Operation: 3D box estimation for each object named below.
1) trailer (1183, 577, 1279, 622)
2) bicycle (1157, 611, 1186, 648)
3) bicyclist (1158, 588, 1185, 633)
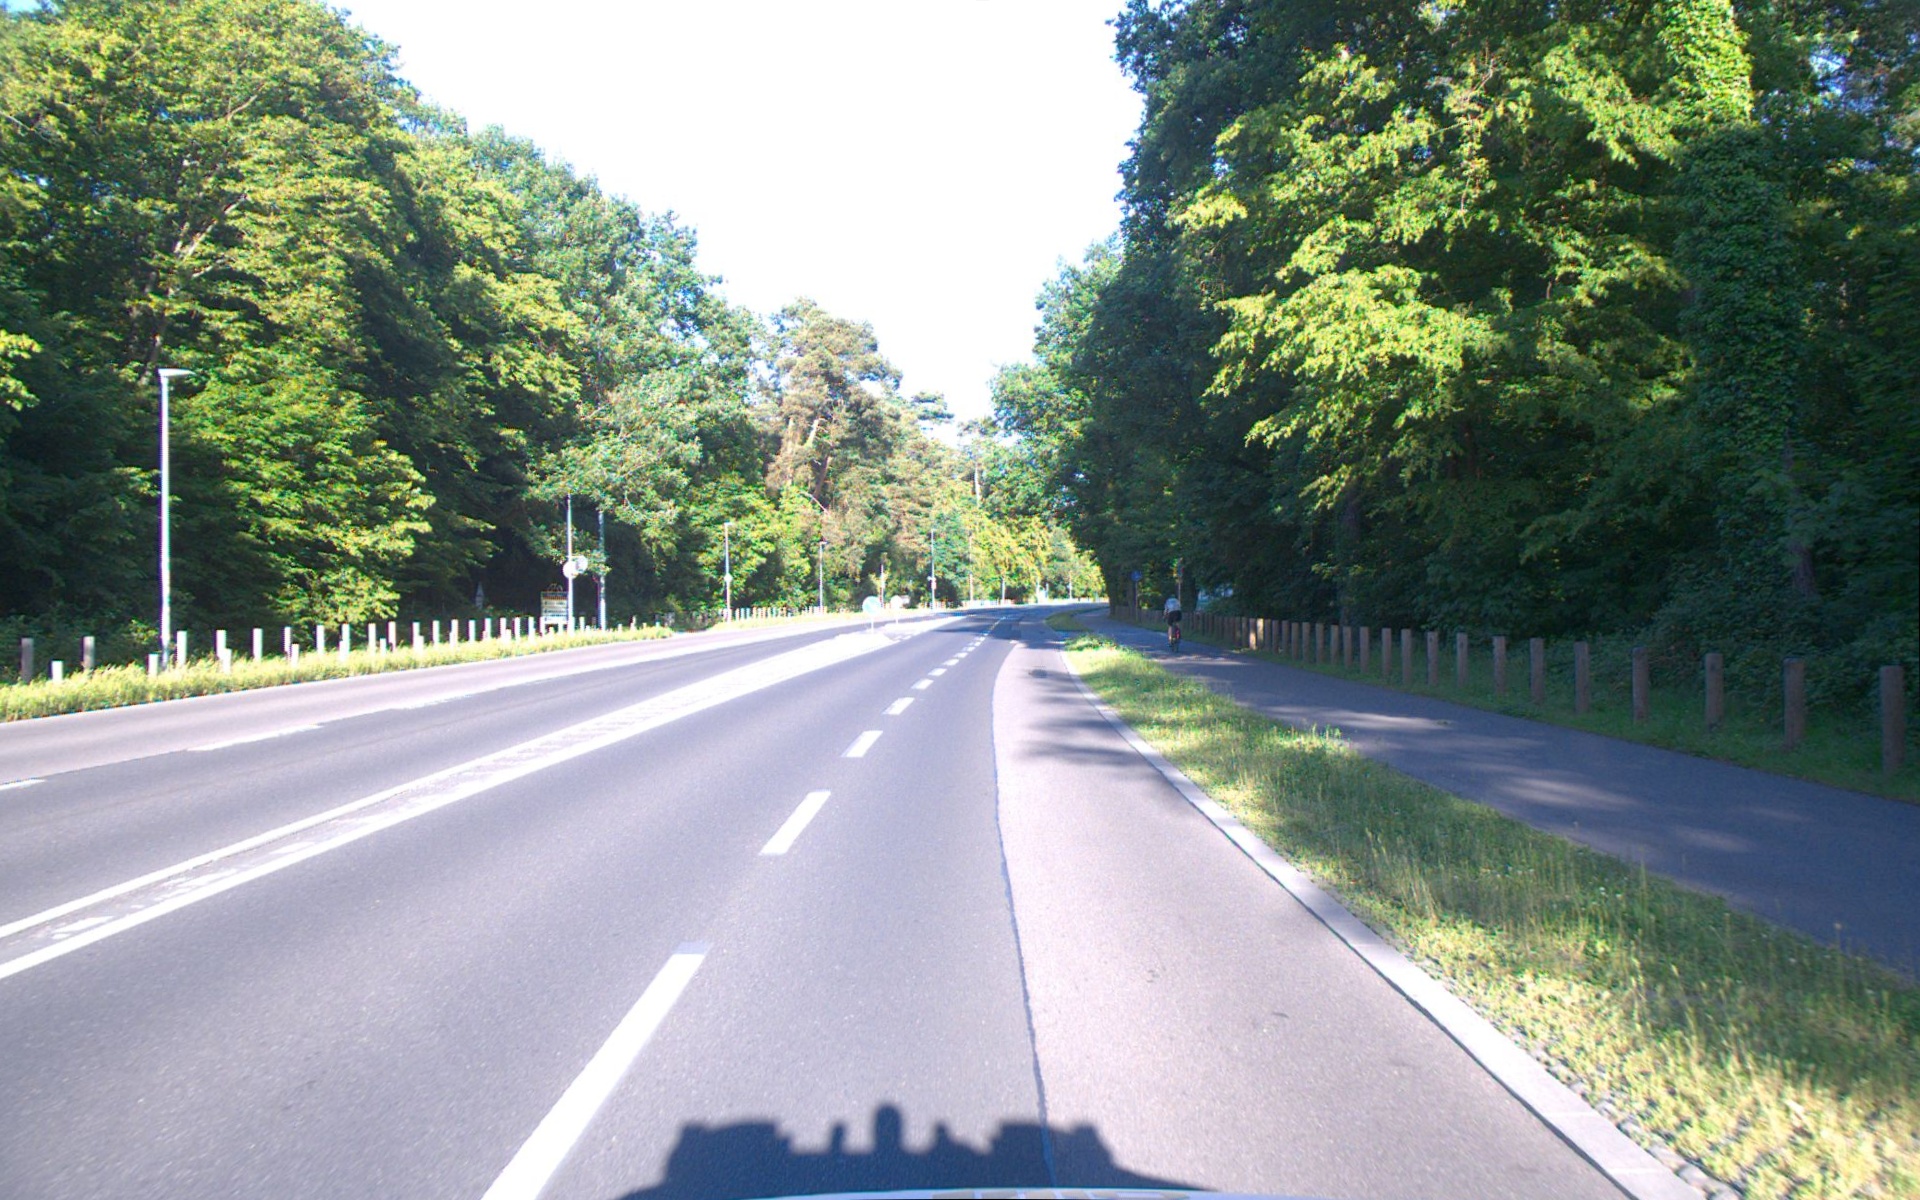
[{"bbox_3d":[12.873,-0.025,78.740,4.154,2.057,1.987,-1,0,43],"label":"trailer"},{"bbox_3d":[6.234,0.868,48.773,0.697,1.074,2.053,0,0,3],"label":"bicycle"},{"bbox_3d":[6.238,0.303,48.749,0.697,1.311,1.105,0,-1,3],"label":"bicyclist"}]
